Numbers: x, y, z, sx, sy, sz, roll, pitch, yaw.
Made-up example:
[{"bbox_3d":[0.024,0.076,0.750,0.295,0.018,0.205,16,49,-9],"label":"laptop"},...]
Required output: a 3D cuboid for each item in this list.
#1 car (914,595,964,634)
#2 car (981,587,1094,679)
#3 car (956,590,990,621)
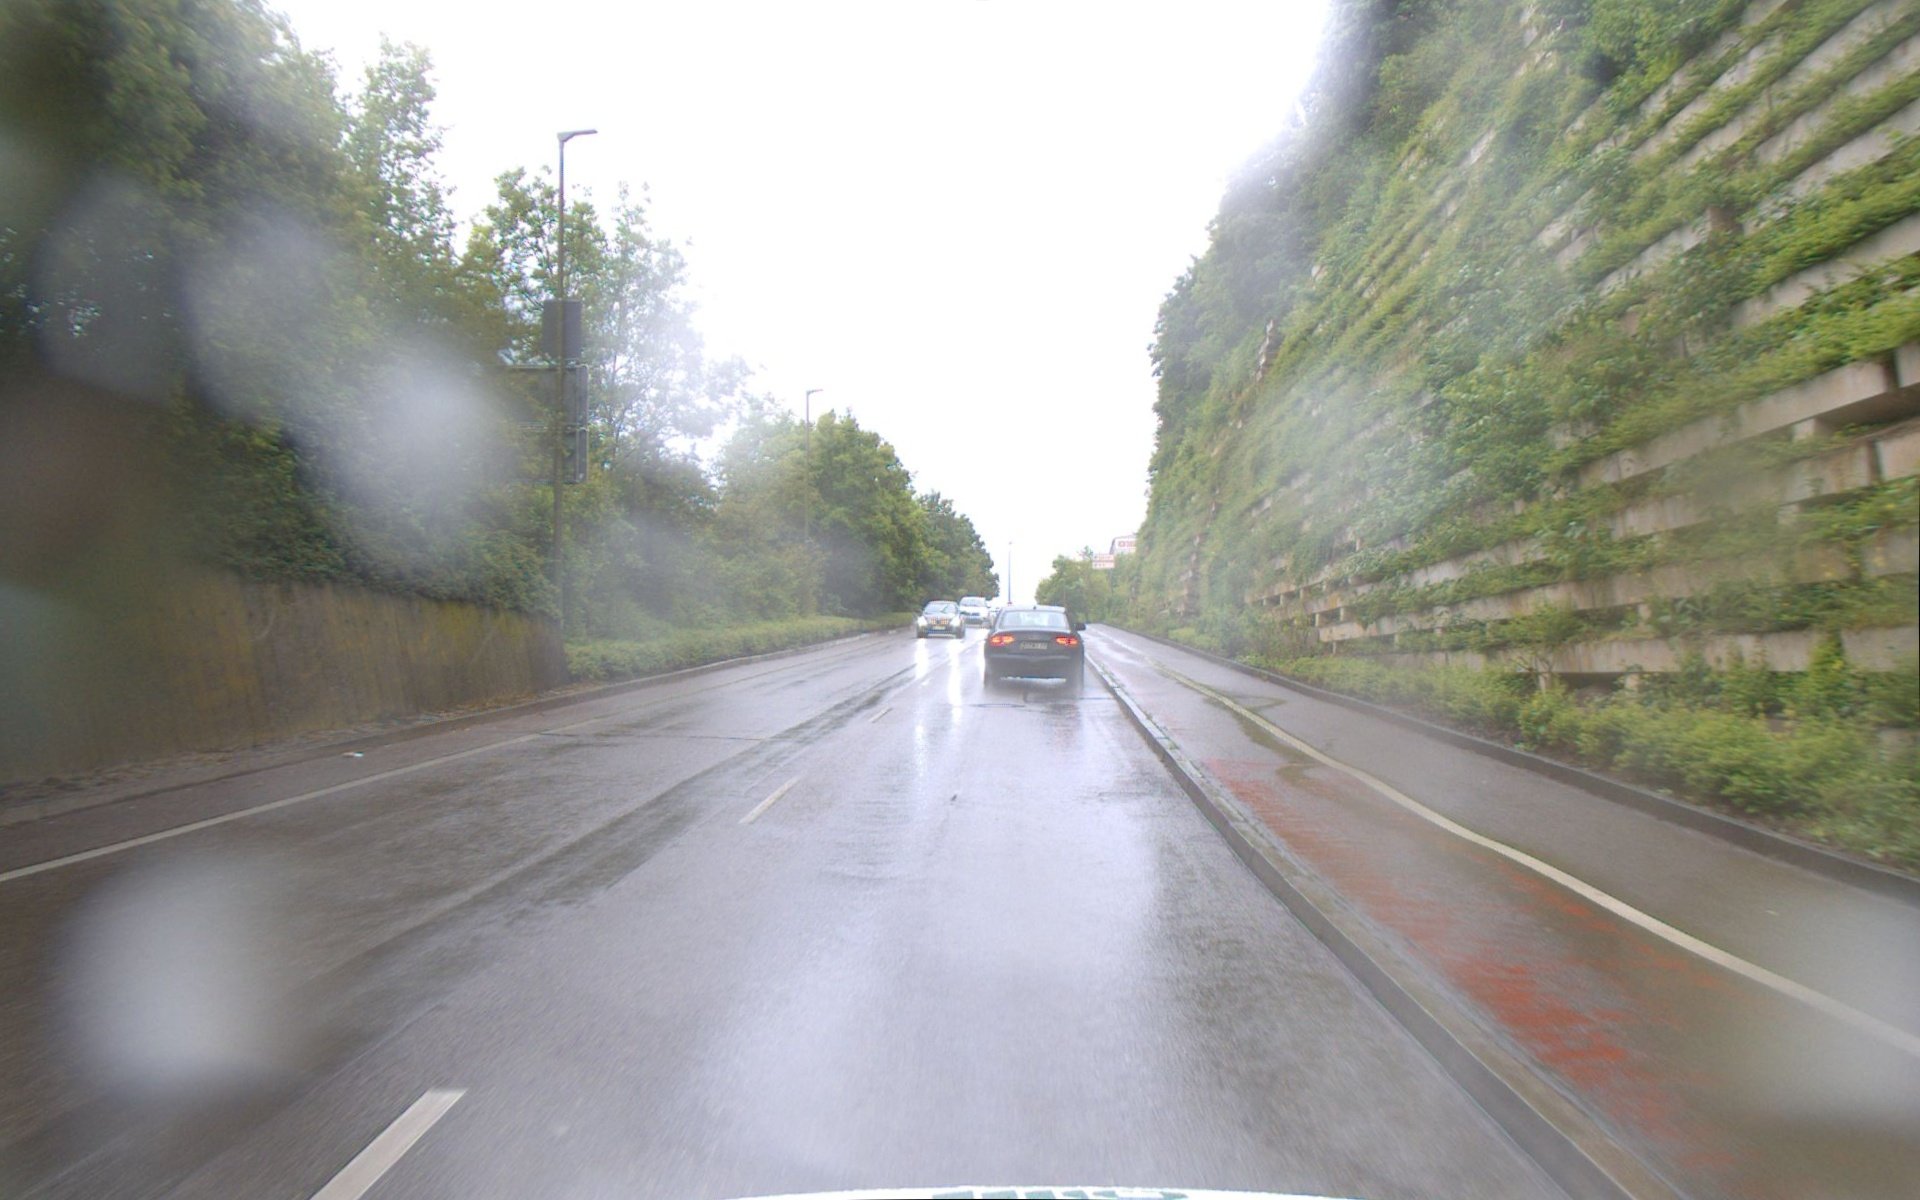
[{"bbox_3d":[-0.800,0.545,65.117,1.826,1.474,4.378,0,0,1],"label":"car"},{"bbox_3d":[1.460,0.551,29.676,1.853,1.518,4.210,0,0,5],"label":"car"},{"bbox_3d":[0.753,0.272,91.430,1.785,1.643,4.094,1,0,2],"label":"car"}]
